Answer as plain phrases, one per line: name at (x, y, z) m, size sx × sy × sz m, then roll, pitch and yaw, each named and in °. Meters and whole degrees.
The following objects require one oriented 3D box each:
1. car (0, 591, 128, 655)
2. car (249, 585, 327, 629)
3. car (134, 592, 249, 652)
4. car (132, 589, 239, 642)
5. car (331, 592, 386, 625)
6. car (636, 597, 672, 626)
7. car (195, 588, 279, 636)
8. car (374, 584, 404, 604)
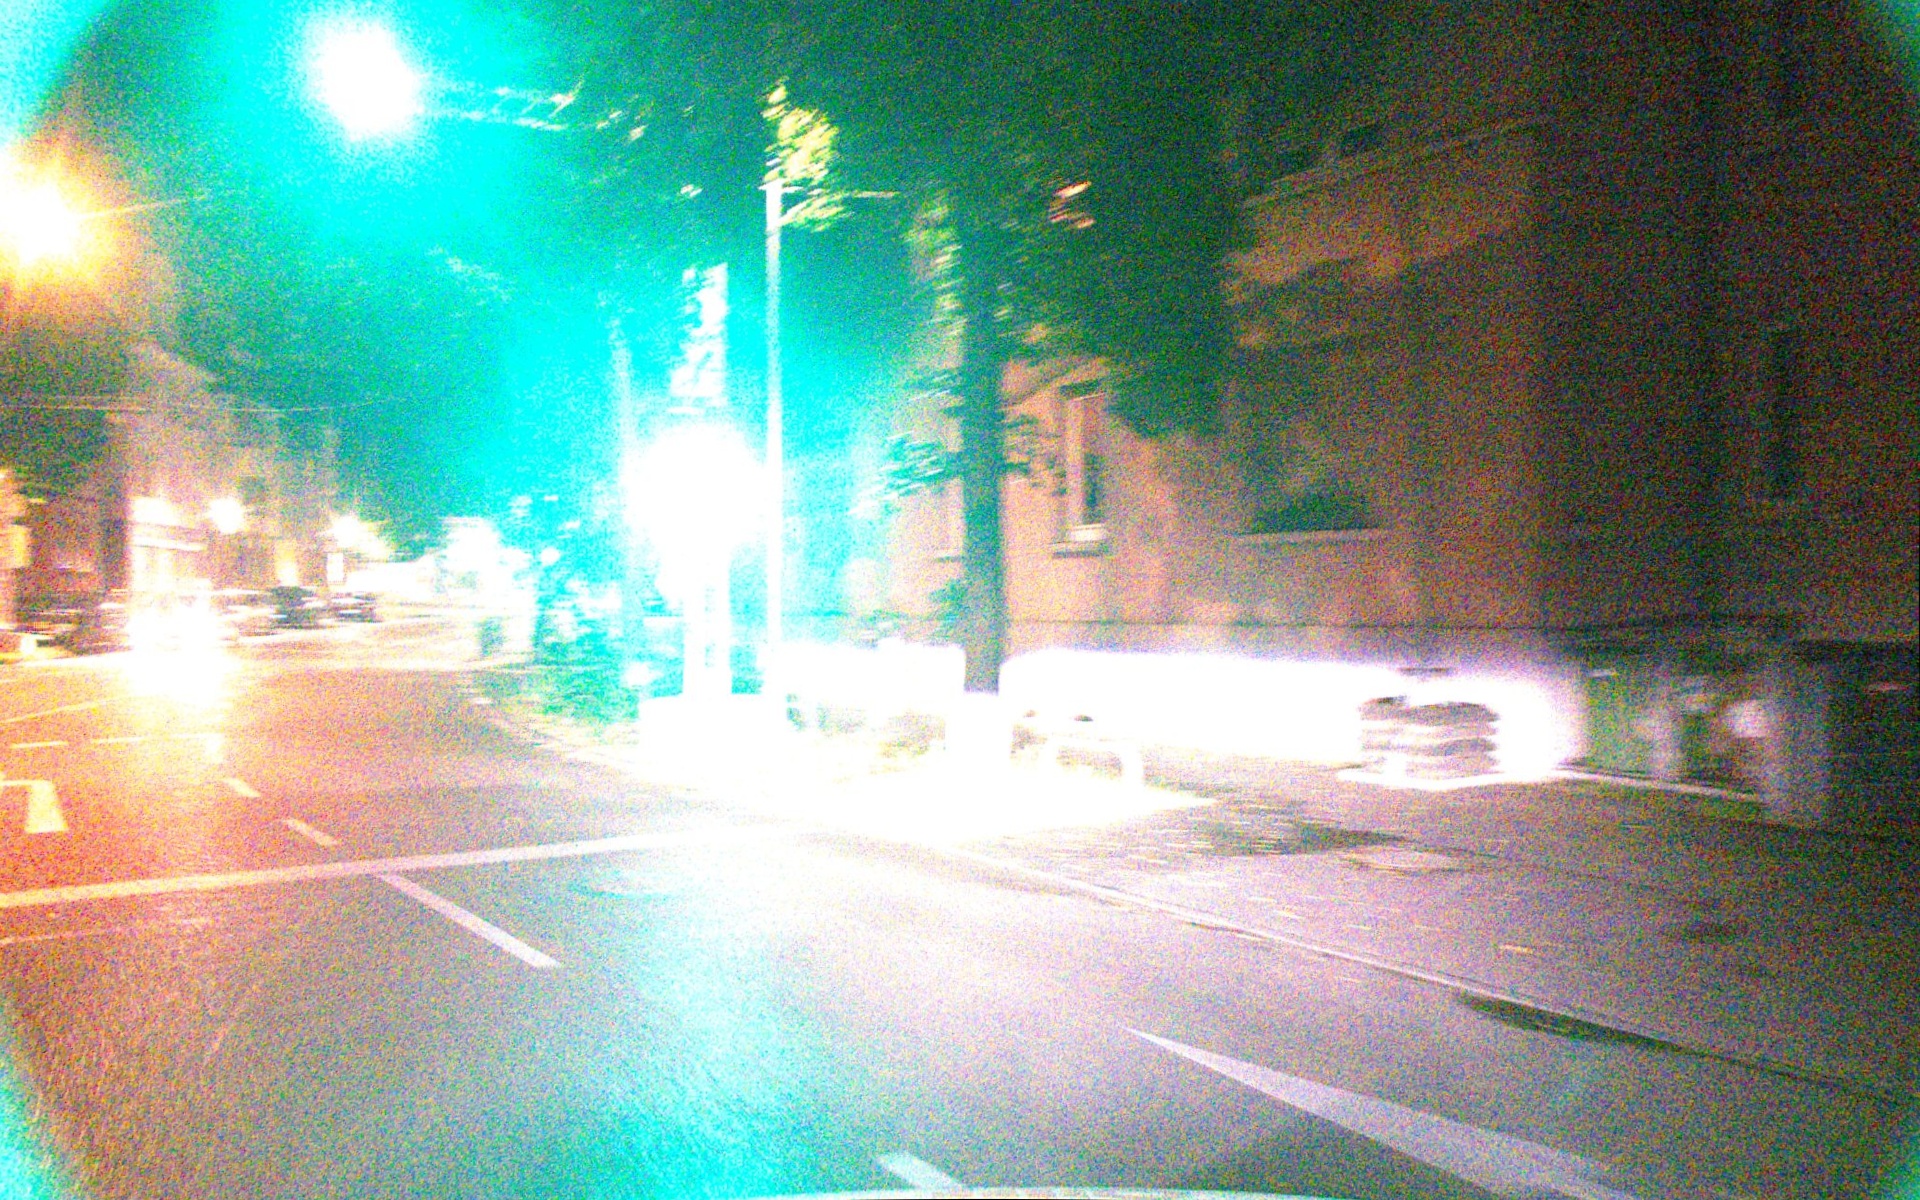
car at (-23.330, 0.561, 43.135) m, size 1.561 × 1.517 × 3.696 m, roll 3°, pitch 0°, yaw -5°
car at (-26.628, 0.261, 65.700) m, size 1.751 × 1.609 × 4.404 m, roll 3°, pitch 0°, yaw -8°
car at (-20.398, 0.553, 44.064) m, size 1.683 × 1.454 × 3.992 m, roll -1°, pitch 1°, yaw -9°
car at (-24.563, 0.475, 52.610) m, size 1.751 × 1.517 × 4.322 m, roll 3°, pitch 0°, yaw -7°
car at (-28.420, 0.391, 78.252) m, size 1.752 × 1.440 × 4.116 m, roll 2°, pitch 0°, yaw -11°
car at (-16.547, 0.597, 89.344) m, size 1.704 × 1.485 × 4.712 m, roll 1°, pitch 0°, yaw -13°
car at (-25.251, 0.380, 57.879) m, size 1.752 × 1.517 × 3.990 m, roll 3°, pitch 0°, yaw -11°
car at (-47.344, -0.540, 137.211) m, size 1.959 × 1.601 × 4.314 m, roll 0°, pitch 1°, yaw -13°
